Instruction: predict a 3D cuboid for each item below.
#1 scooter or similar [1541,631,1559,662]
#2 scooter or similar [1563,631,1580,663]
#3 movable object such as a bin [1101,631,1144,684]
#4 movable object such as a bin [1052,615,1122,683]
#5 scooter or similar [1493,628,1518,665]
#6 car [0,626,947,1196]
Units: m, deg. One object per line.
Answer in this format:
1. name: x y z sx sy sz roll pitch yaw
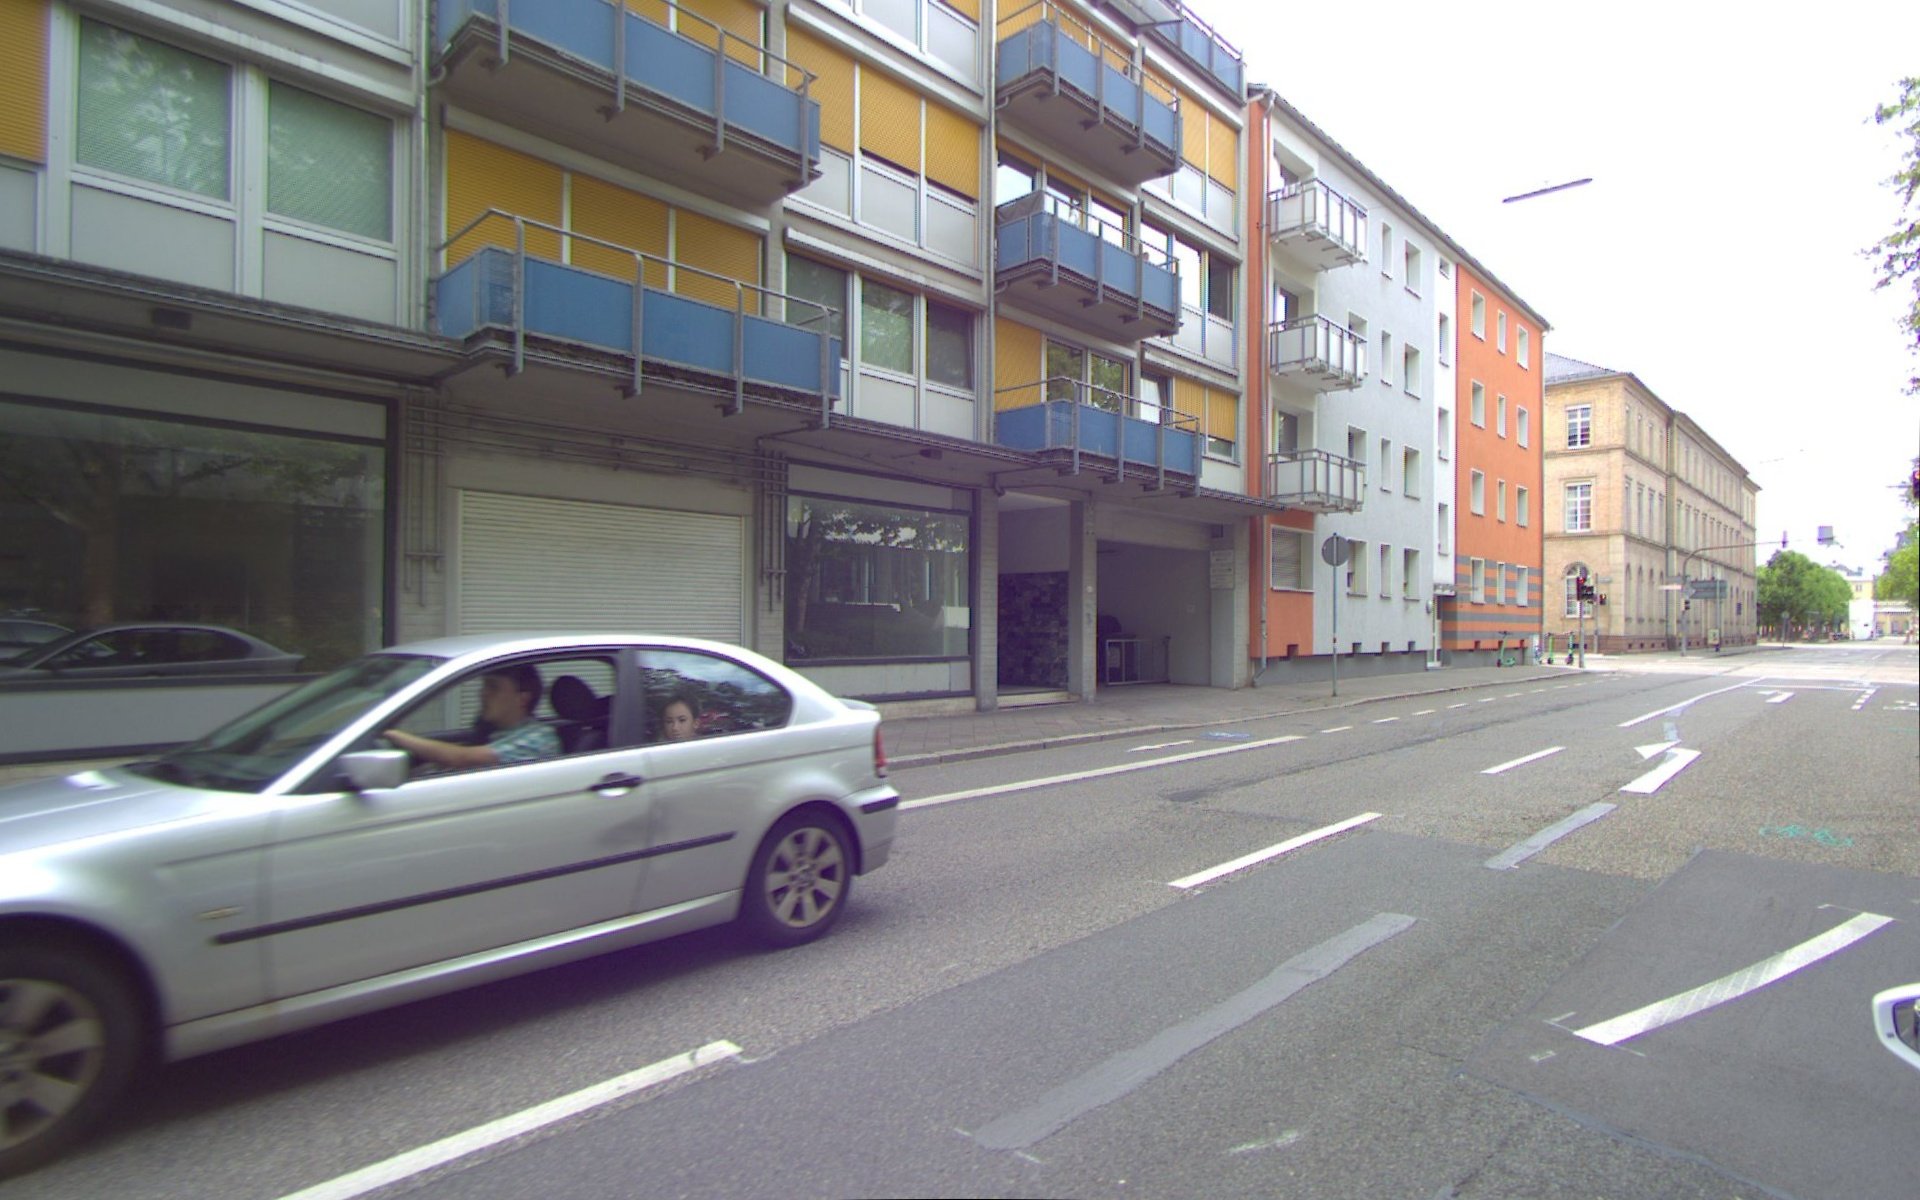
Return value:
1. scooter or similar: 22.133 1.744 37.686 0.373 1.162 1.136 0 -3 40
2. scooter or similar: 22.919 1.759 37.662 0.373 1.159 1.136 0 -3 40
3. movable object such as a bin: 3.589 1.259 22.153 0.705 1.141 0.635 1 -1 -45
4. movable object such as a bin: 2.880 1.098 22.823 1.046 1.483 1.178 1 -1 -45
5. scooter or similar: 17.978 1.550 33.107 0.374 1.199 1.381 -1 -3 44
6. car: -2.087 0.850 4.246 1.738 1.446 4.075 -3 -3 43
